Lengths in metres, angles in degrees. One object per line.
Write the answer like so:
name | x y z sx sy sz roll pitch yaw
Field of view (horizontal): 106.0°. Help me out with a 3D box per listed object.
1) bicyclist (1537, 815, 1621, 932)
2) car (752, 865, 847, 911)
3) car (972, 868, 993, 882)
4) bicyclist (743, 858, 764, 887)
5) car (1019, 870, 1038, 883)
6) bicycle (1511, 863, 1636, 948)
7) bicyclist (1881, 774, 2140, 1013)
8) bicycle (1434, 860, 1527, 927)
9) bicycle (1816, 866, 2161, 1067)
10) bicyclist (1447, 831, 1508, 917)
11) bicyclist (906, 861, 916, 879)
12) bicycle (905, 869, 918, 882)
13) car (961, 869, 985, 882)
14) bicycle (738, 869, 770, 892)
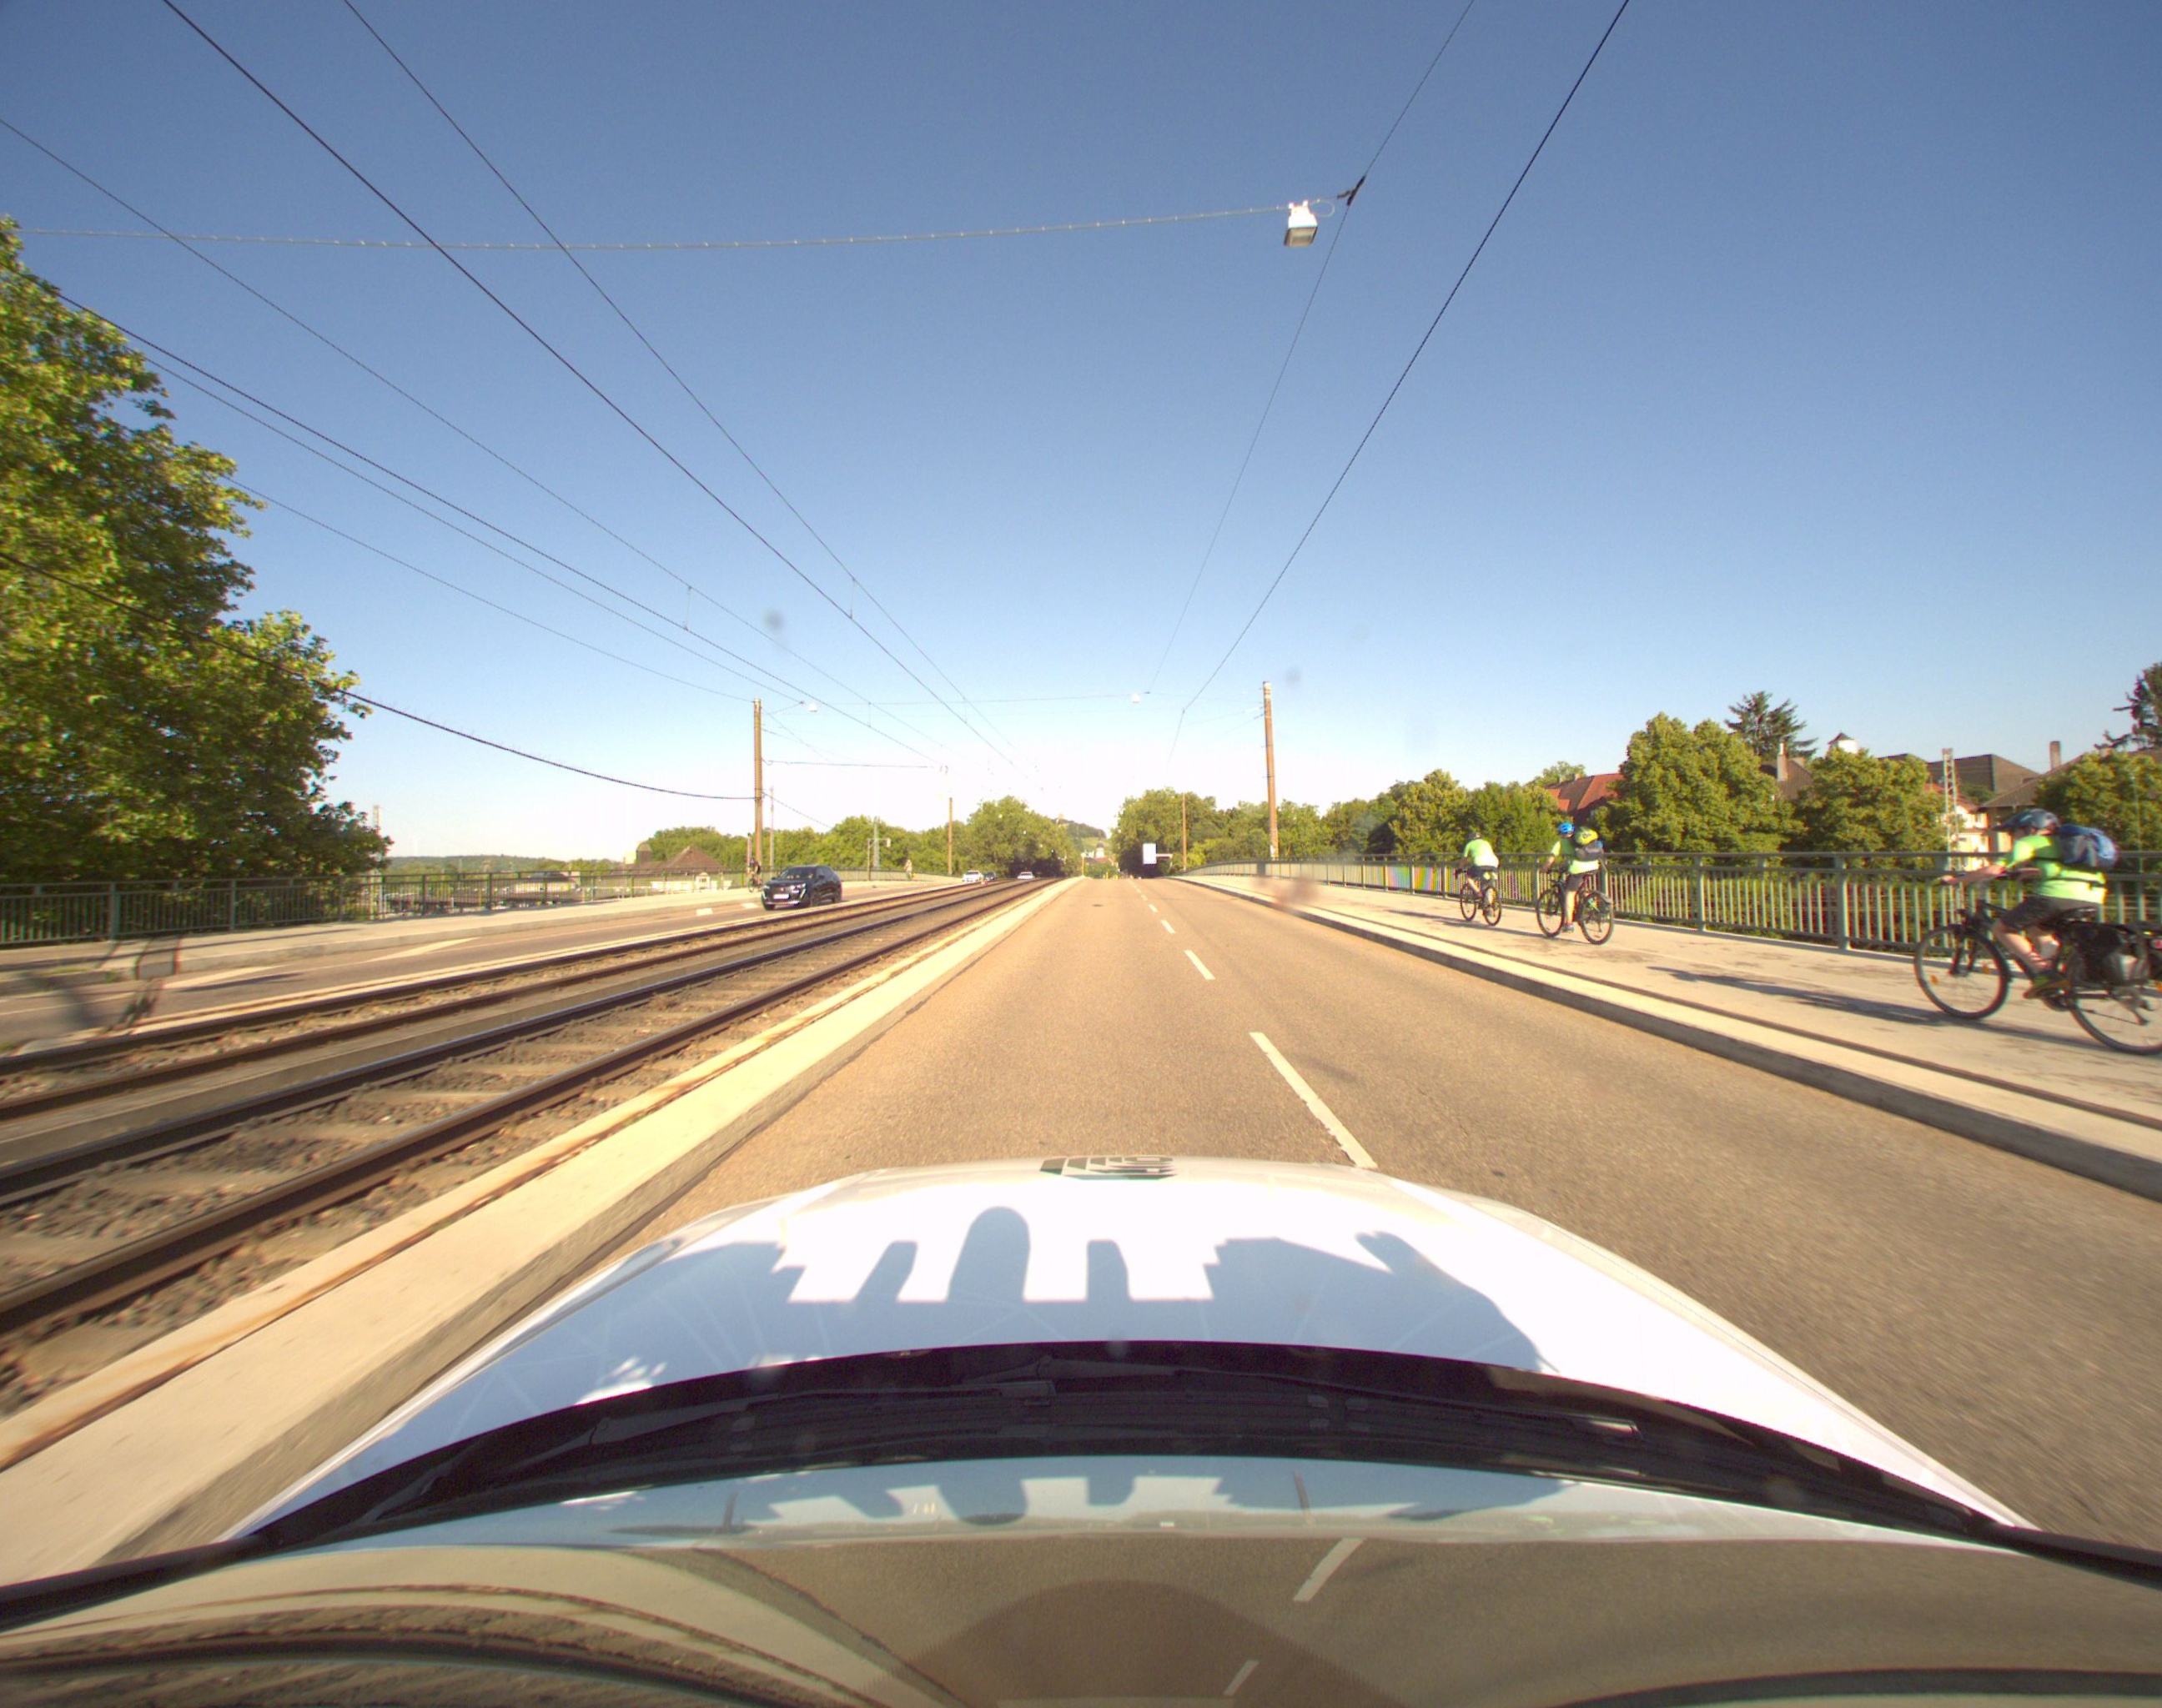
bicyclist | 7.114 0.277 11.673 0.623 1.592 0.931 -1 -2 2
car | -10.050 1.183 29.409 1.842 1.502 4.220 -1 -1 2
car | -11.911 2.529 98.552 1.772 1.650 4.448 -1 -1 2
bicyclist | -16.273 0.919 40.526 0.623 1.432 0.969 -1 -1 1
car | -6.968 3.021 108.442 1.993 1.637 5.092 -1 -1 2
bicycle | 7.086 0.708 11.853 0.623 1.122 2.042 -1 -1 2
bicyclist | 6.541 0.259 5.793 0.809 1.562 0.897 -1 0 1
bicycle | 7.203 0.678 14.813 0.623 1.122 2.260 -1 -1 2
bicycle | 6.555 0.665 5.807 0.681 1.122 2.217 -1 0 2
bicyclist | 7.207 0.359 14.850 0.623 1.508 1.006 -1 -1 2
bicyclist | -14.979 1.411 71.808 0.623 1.633 0.936 -1 -2 2
bicycle | -14.971 1.875 71.931 0.623 1.122 2.260 -1 -1 2
car | -11.520 2.247 86.999 1.677 1.356 4.922 -1 -1 2
bicycle | -16.271 1.324 40.584 0.623 1.122 2.260 -1 -1 1
